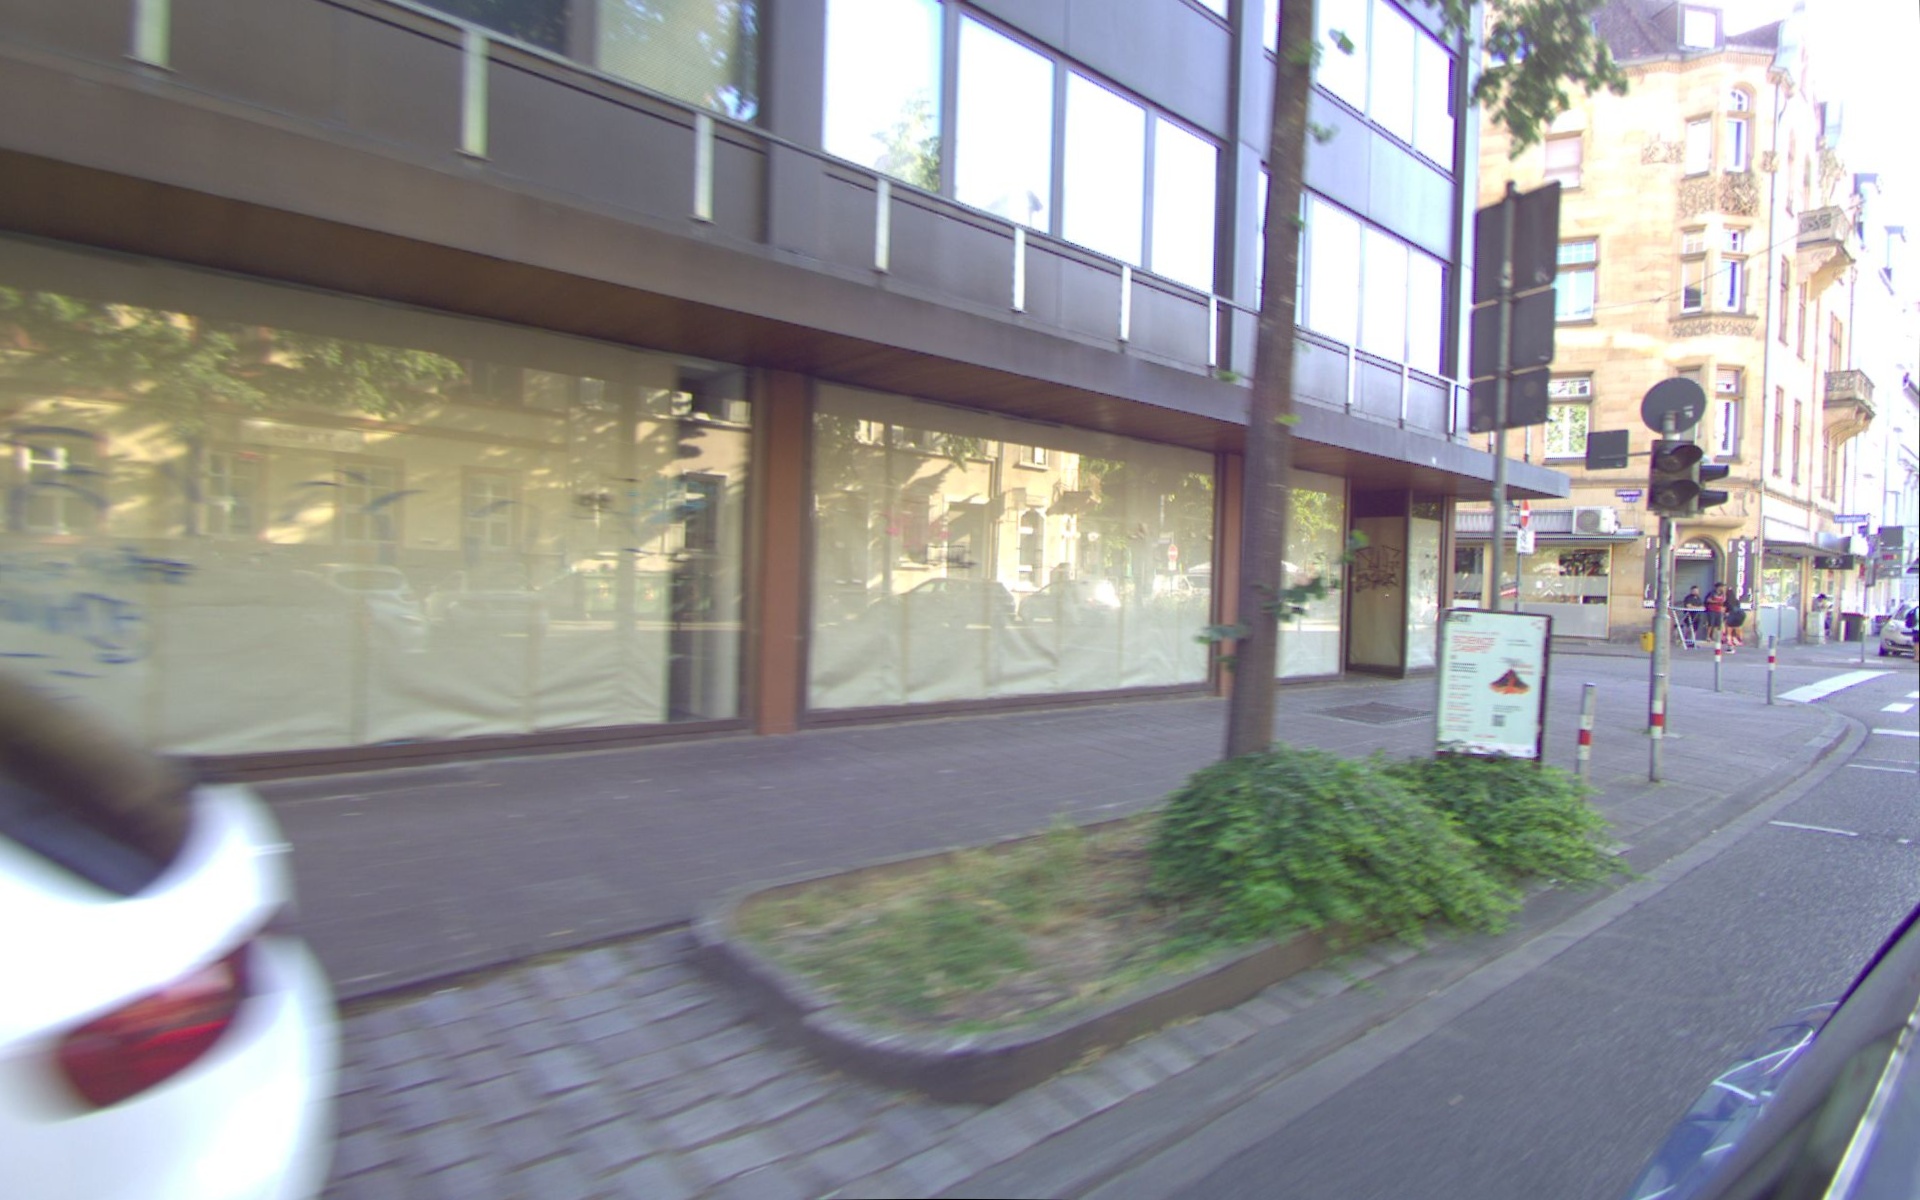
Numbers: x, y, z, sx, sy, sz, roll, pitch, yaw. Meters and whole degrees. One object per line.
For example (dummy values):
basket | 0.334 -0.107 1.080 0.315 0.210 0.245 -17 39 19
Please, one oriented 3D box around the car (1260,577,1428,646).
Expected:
car | 10.769 0.265 28.374 4.273 1.794 1.982 1 0 26

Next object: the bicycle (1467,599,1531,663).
bicycle | 10.514 0.575 19.800 0.564 1.176 1.740 2 0 10

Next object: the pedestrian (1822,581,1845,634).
pedestrian | 29.301 0.249 33.951 0.534 1.764 0.588 1 0 45

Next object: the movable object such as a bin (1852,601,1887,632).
movable object such as a bin | 33.683 0.595 37.477 0.650 1.061 0.727 3 2 -31

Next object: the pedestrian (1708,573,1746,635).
pedestrian | 21.468 0.105 28.326 0.701 1.714 0.500 0 0 -13

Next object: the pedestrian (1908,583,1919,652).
pedestrian | 24.779 0.466 25.753 0.692 1.740 0.689 3 2 27

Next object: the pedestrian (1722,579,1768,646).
pedestrian | 20.623 0.313 26.594 0.663 1.712 0.619 0 2 3

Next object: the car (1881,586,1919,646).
car | 27.524 0.469 28.366 4.054 1.593 1.978 0 3 -41

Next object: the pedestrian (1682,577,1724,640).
pedestrian | 20.486 0.215 27.913 0.701 1.714 0.620 0 0 -13

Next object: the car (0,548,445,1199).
car | -3.174 0.636 0.667 4.756 1.419 1.827 0 3 -40
